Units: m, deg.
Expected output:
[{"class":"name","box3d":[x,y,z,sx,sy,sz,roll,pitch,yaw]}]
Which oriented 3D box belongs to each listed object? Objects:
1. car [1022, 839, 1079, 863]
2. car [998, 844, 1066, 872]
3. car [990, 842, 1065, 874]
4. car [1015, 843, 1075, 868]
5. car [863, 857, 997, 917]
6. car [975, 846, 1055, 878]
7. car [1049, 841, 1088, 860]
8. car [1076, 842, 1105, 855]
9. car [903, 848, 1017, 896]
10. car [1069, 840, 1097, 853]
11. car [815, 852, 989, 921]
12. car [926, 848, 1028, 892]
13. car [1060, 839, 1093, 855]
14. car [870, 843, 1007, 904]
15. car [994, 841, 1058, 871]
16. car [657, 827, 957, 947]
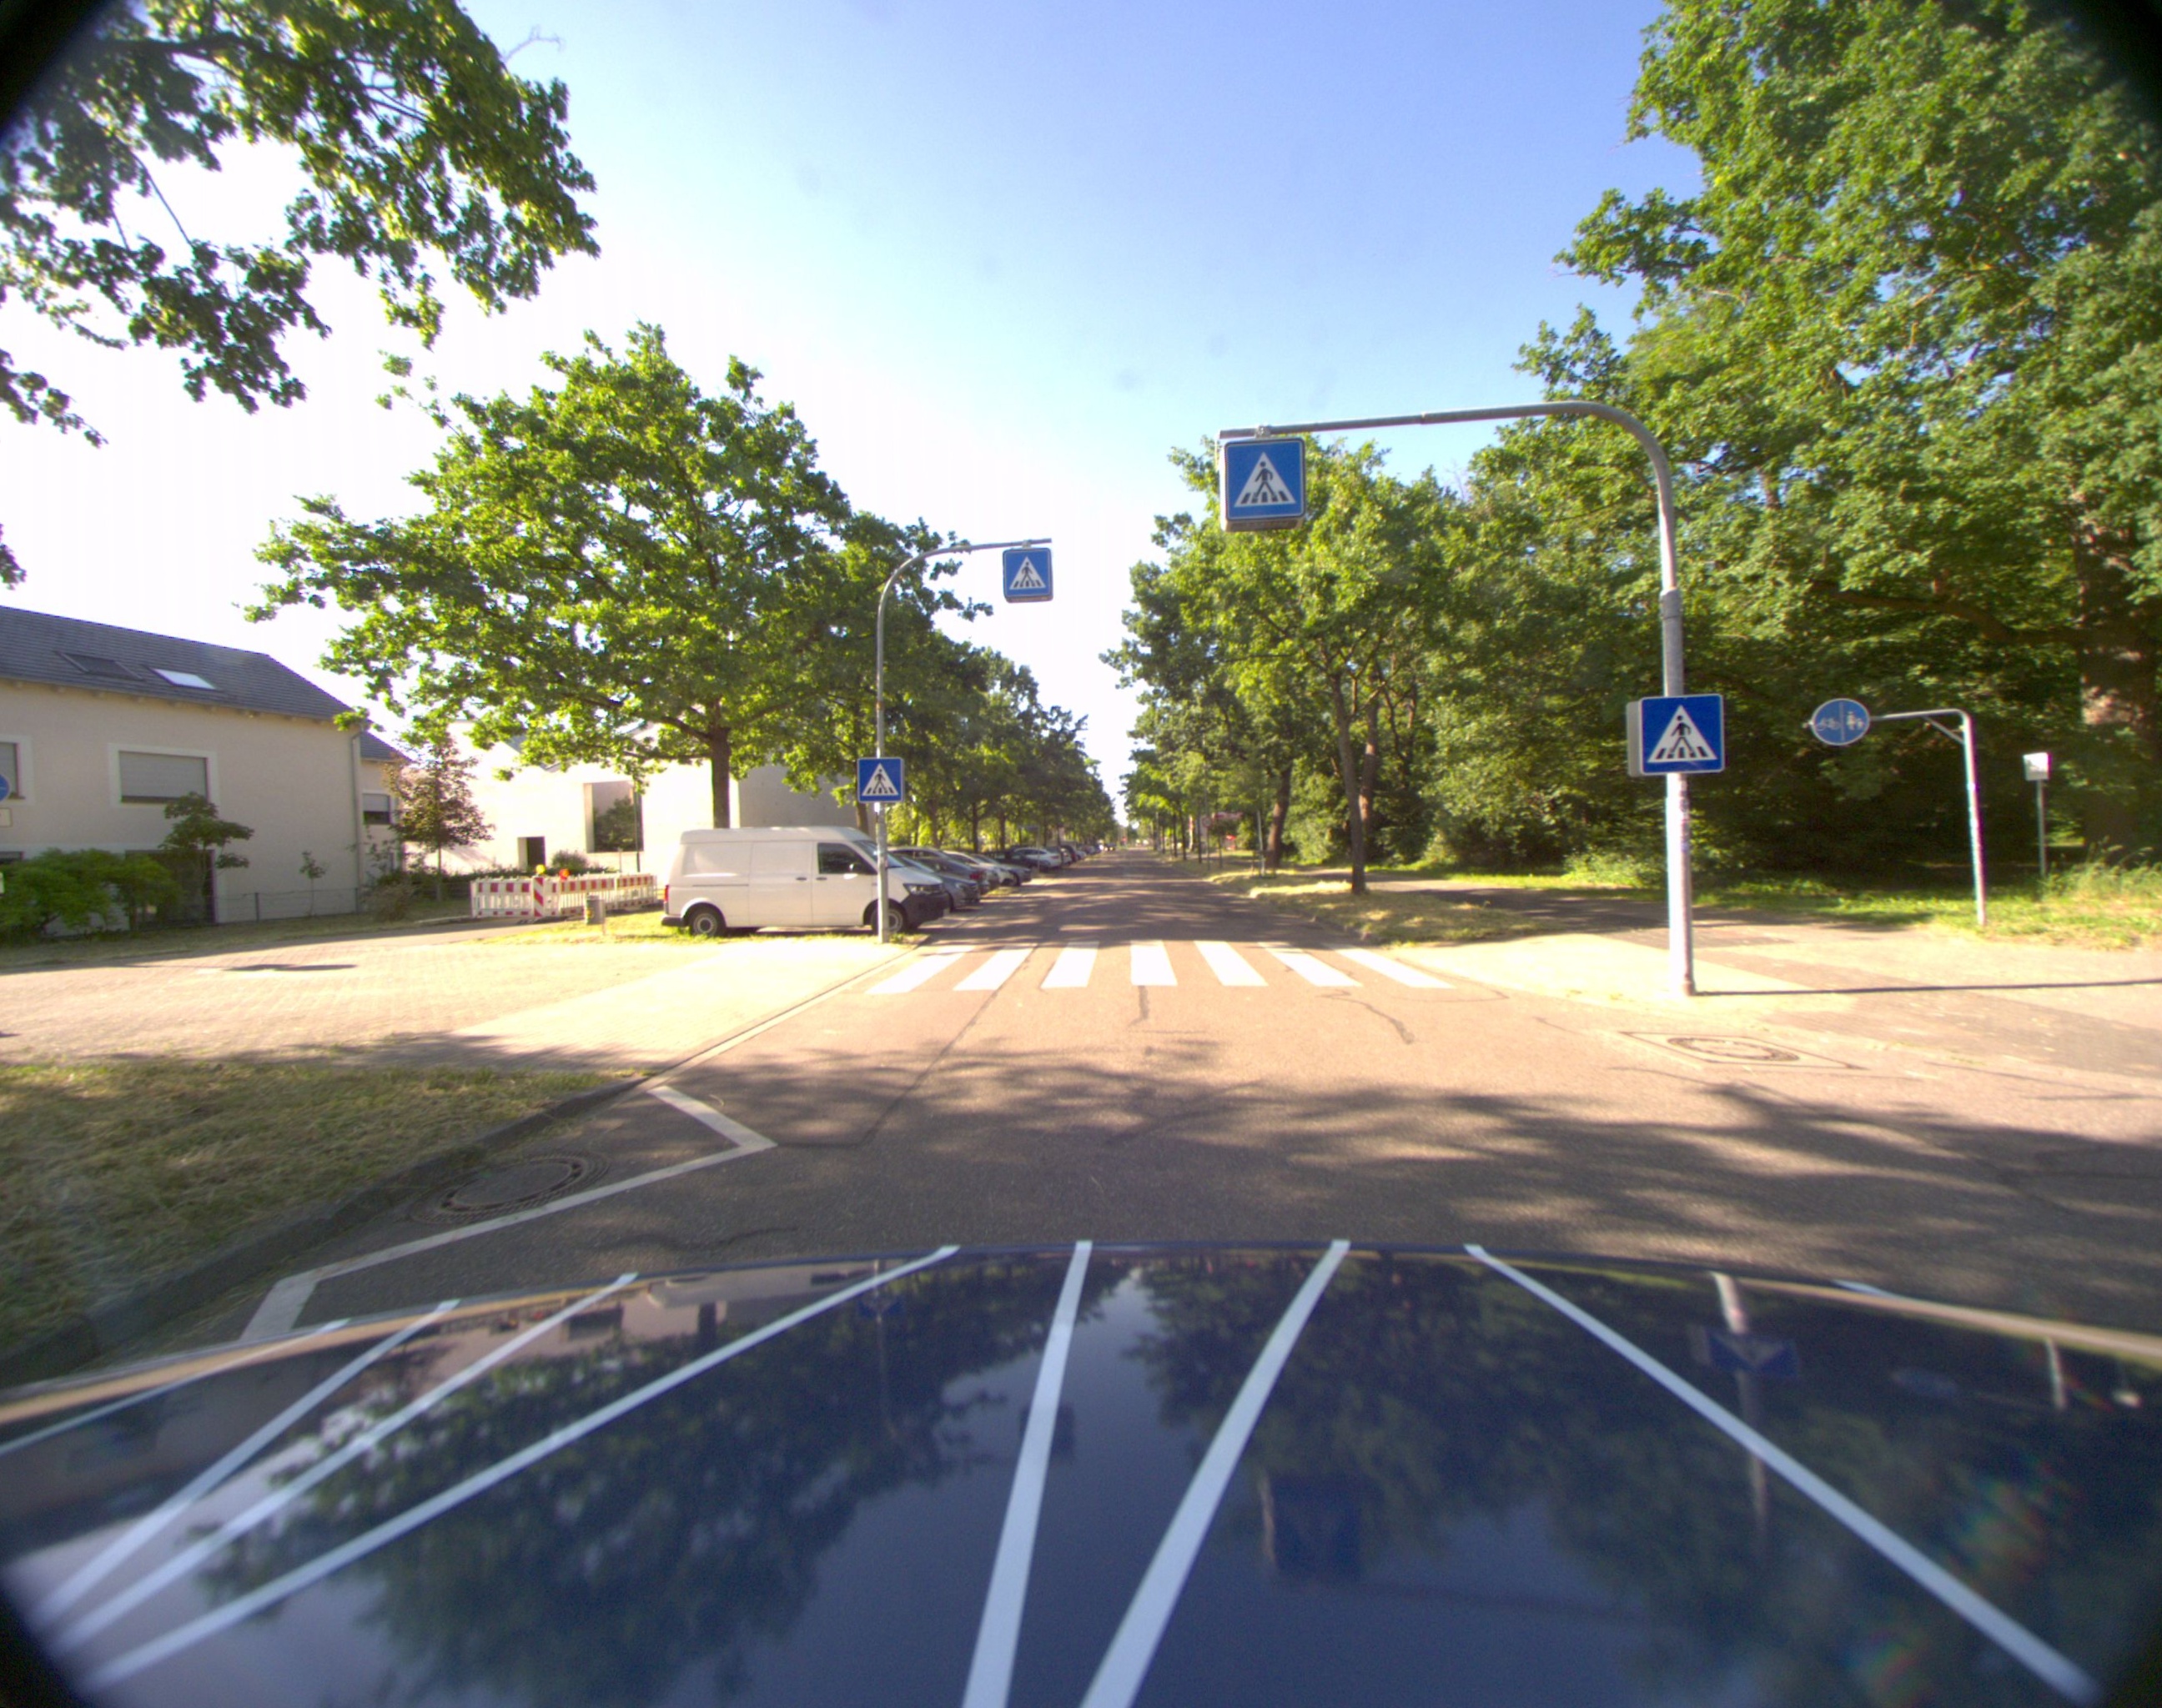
[{"class":"car","box3d":[-2.421,-0.233,61.182,4.394,1.733,1.533,-2,1,5]},{"class":"car","box3d":[-3.293,0.253,51.615,4.394,1.733,1.533,-2,1,5]},{"class":"car","box3d":[-3.314,0.238,47.578,4.394,1.733,1.533,-2,1,5]},{"class":"car","box3d":[-2.753,0.131,58.833,4.394,1.733,1.533,-2,1,5]},{"class":"car","box3d":[-4.381,0.943,22.323,3.515,1.533,1.448,-2,1,5]},{"class":"car","box3d":[-3.846,0.443,44.474,4.394,1.632,1.533,-2,1,5]},{"class":"car","box3d":[-1.315,-0.361,81.446,3.996,1.838,1.863,-2,1,4]},{"class":"car","box3d":[1.450,-0.845,113.584,4.150,1.838,1.949,-2,1,4]},{"class":"car","box3d":[-4.658,0.685,29.489,4.018,1.669,1.533,-2,1,5]},{"class":"car","box3d":[0.275,-1.201,118.702,4.150,1.838,1.949,-2,1,4]},{"class":"car","box3d":[-4.601,0.819,19.835,3.995,1.554,1.758,-2,1,5]},{"class":"car","box3d":[-4.417,0.675,32.487,4.018,1.650,1.533,-2,1,5]},{"class":"car","box3d":[-0.600,-0.956,102.386,4.150,1.838,1.949,-2,1,4]},{"class":"car","box3d":[-4.614,0.611,24.883,4.018,1.783,1.713,-2,1,5]},{"class":"car","box3d":[-3.954,0.121,55.042,4.394,1.977,1.533,-2,1,5]},{"class":"car","box3d":[-5.135,0.598,14.696,5.044,2.069,1.891,-1,1,3]}]
